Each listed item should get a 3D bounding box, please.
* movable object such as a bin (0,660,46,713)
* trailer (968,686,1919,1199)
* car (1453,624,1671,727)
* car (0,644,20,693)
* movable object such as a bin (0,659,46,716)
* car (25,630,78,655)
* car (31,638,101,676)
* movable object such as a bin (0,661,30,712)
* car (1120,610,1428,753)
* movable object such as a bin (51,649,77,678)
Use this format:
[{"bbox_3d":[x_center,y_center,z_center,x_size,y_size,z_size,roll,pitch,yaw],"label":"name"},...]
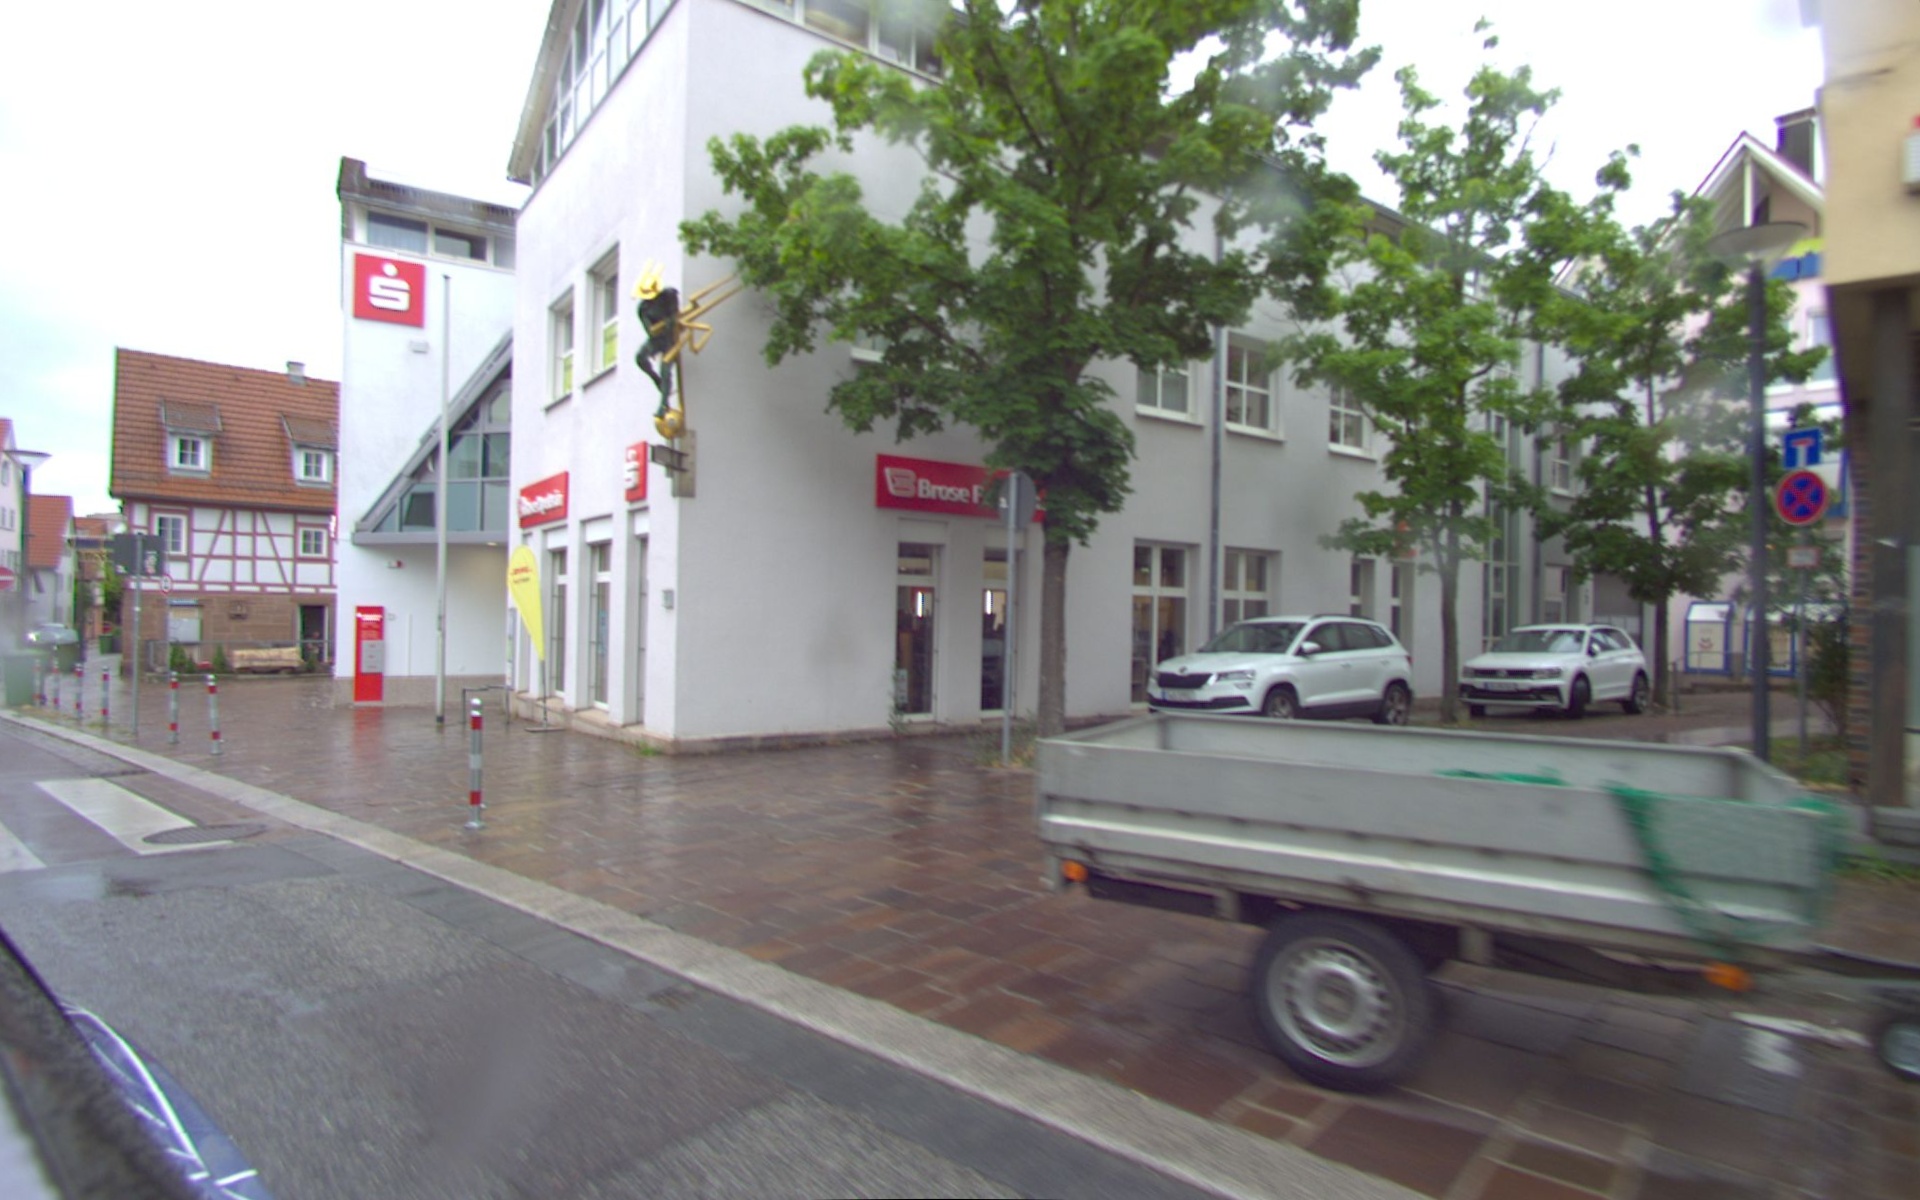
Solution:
[{"bbox_3d":[-19.631,1.797,21.135,0.644,1.059,0.688,-1,-3,42],"label":"movable object such as a bin"},{"bbox_3d":[1.791,0.892,3.213,3.012,1.133,1.836,-4,-4,35],"label":"trailer"},{"bbox_3d":[10.826,1.303,18.114,4.211,1.630,1.824,3,-3,-36],"label":"car"},{"bbox_3d":[-31.103,2.158,32.116,1.781,1.453,4.003,0,-1,-44],"label":"car"},{"bbox_3d":[-19.060,1.761,20.546,0.644,1.085,0.688,-1,0,42],"label":"movable object such as a bin"},{"bbox_3d":[-56.189,2.633,62.653,1.838,1.472,4.010,2,-3,-34],"label":"car"},{"bbox_3d":[-38.345,2.411,43.495,1.778,1.453,4.010,0,-1,-34],"label":"car"},{"bbox_3d":[-20.326,1.828,21.534,0.644,1.055,0.688,-1,-3,42],"label":"movable object such as a bin"},{"bbox_3d":[4.237,1.022,13.447,4.053,1.630,1.861,3,-3,-36],"label":"car"},{"bbox_3d":[-32.294,2.287,36.477,0.530,1.030,0.604,-1,-3,42],"label":"movable object such as a bin"}]
